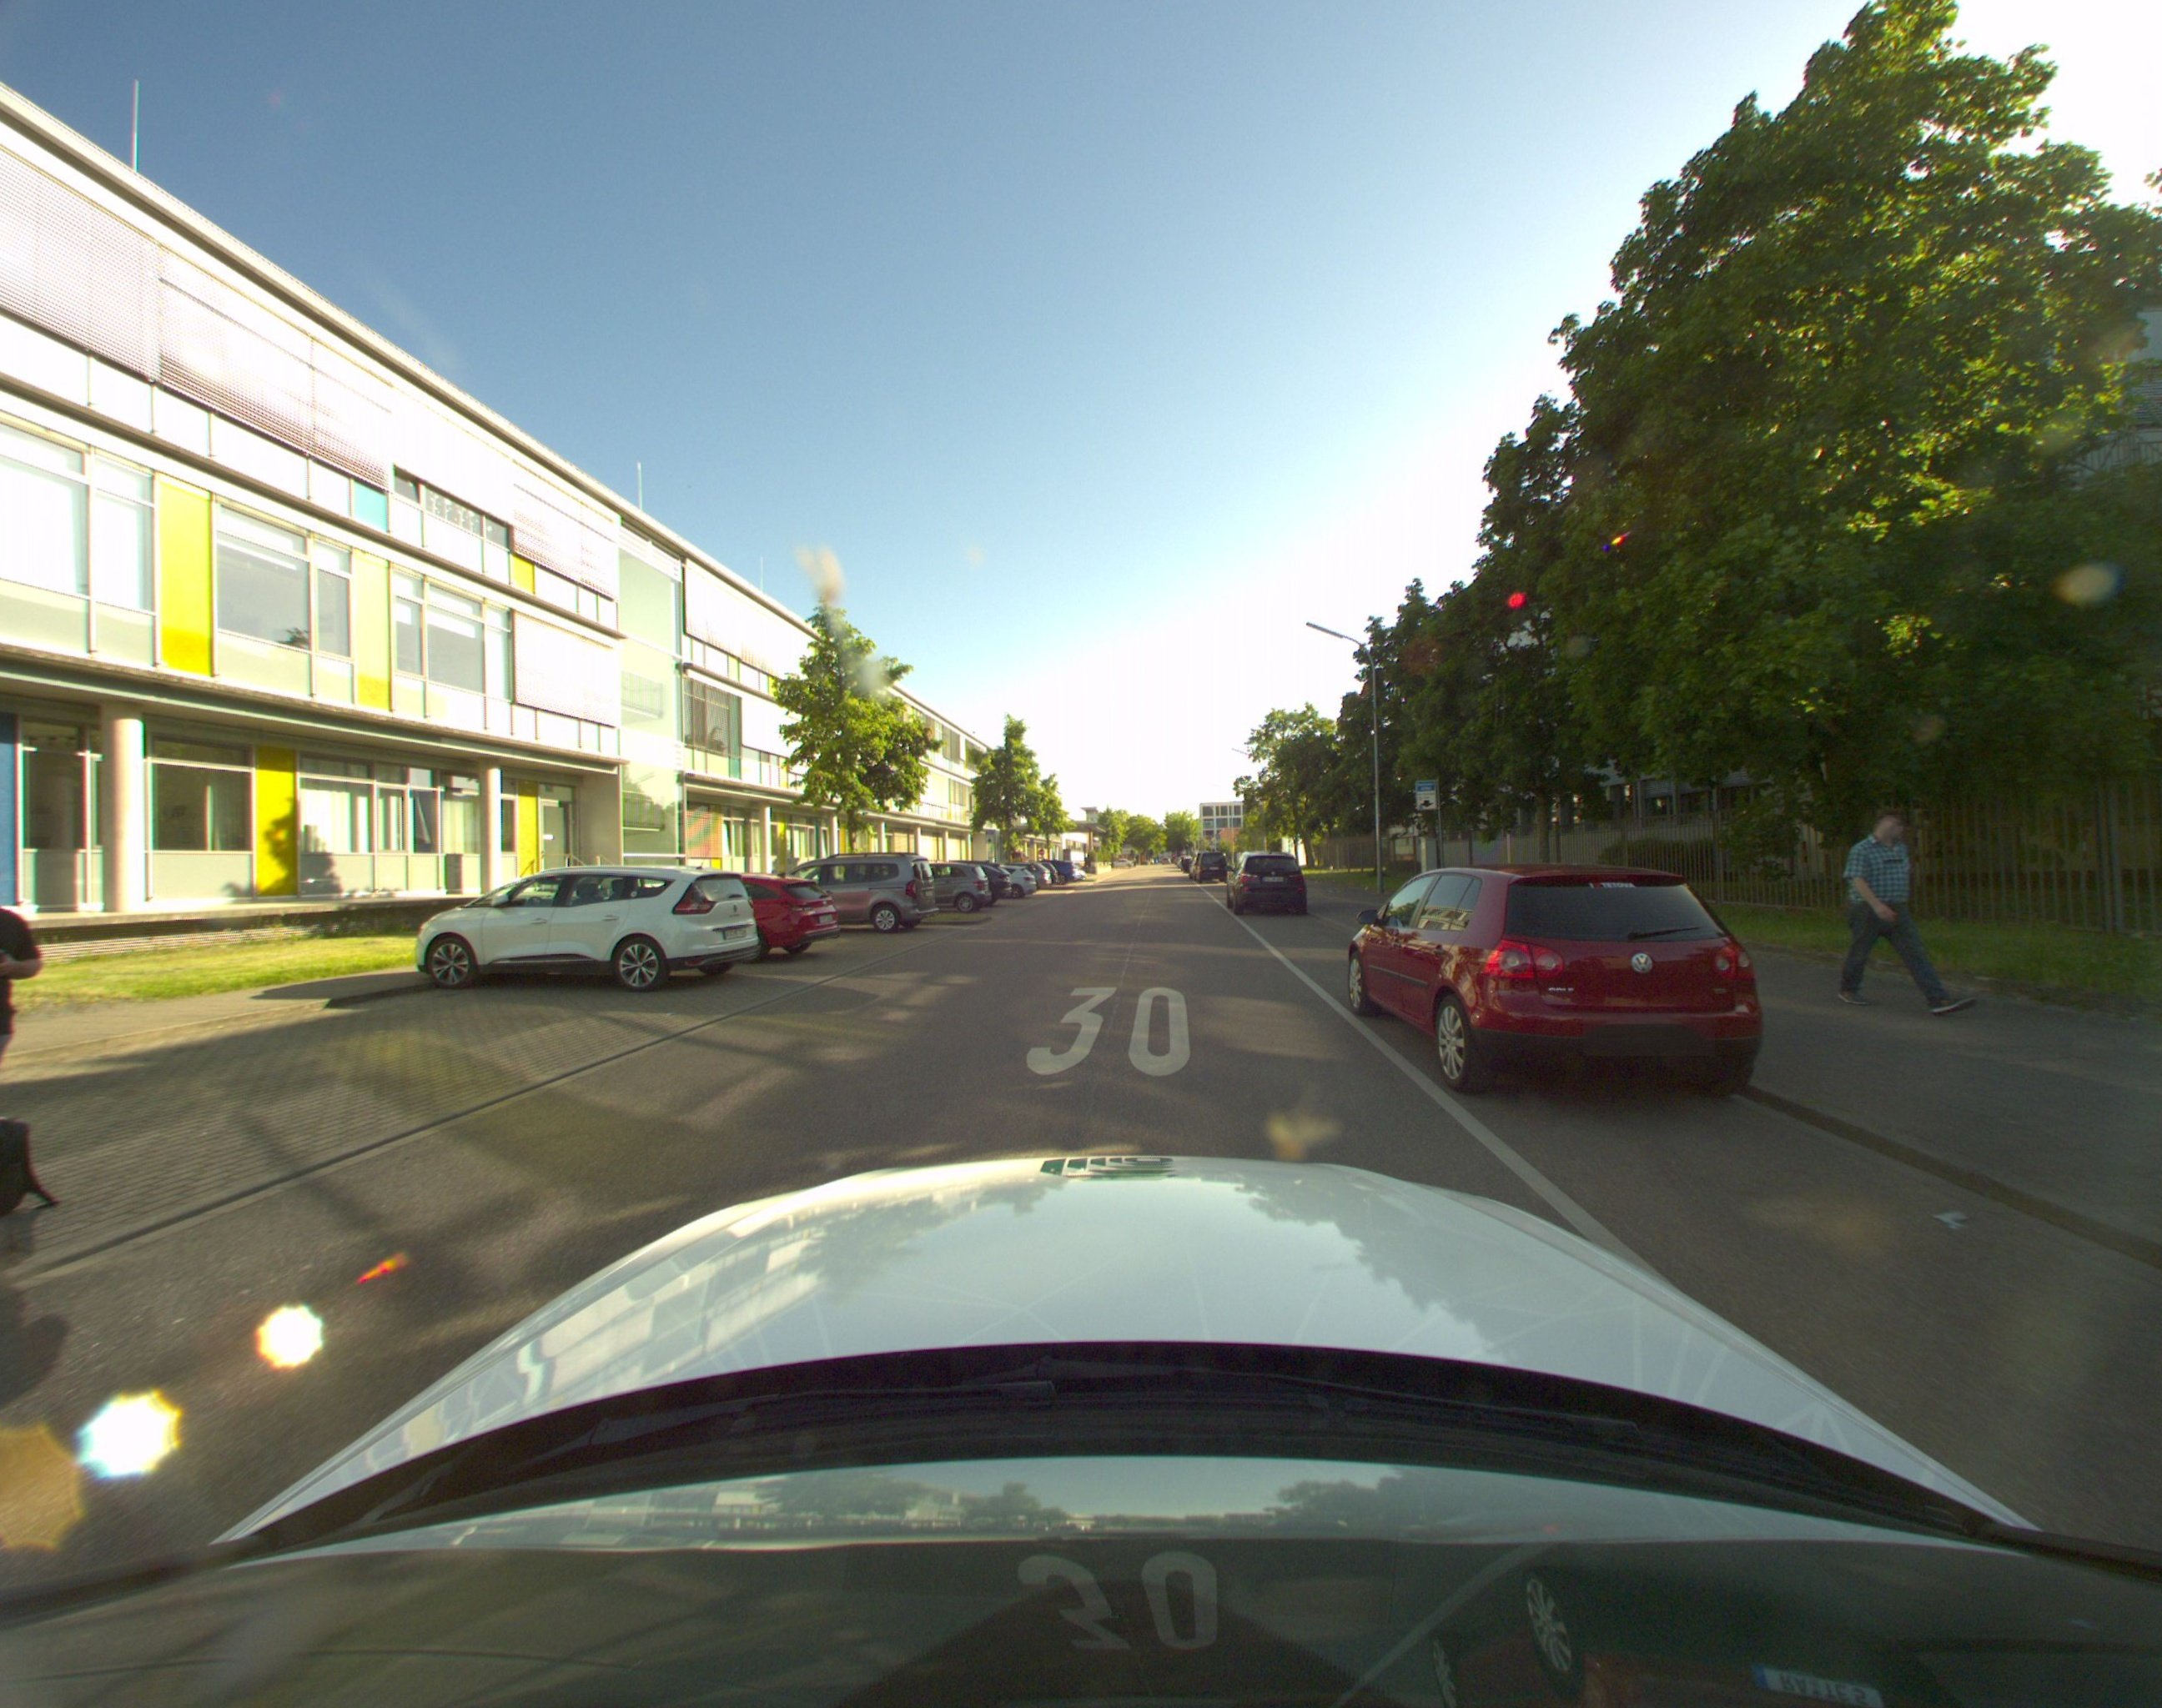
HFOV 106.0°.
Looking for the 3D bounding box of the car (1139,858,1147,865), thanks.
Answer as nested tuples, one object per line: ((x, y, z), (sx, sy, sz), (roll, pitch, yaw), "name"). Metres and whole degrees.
((15.389, 1.901, 201.711), (1.719, 1.536, 4.005), (-2, -1, 4), "car")

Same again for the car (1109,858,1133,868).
((6.695, 1.544, 135.737), (3.967, 1.519, 2.003), (-2, -2, 6), "car")

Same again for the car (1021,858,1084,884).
((-1.902, 1.139, 54.878), (3.970, 1.552, 2.002), (-2, -1, 3), "car")

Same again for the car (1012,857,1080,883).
((-2.210, 1.037, 52.459), (4.197, 1.603, 1.873), (0, -1, 2), "car")

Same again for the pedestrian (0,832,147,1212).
((-5.595, 0.814, 4.176), (0.850, 1.842, 0.830), (0, -1, 25), "pedestrian")

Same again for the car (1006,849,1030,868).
((-7.087, 0.533, 91.924), (1.984, 2.014, 4.006), (-2, -2, 6), "car")

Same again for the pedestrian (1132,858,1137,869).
((8.681, 1.538, 131.930), (0.615, 1.624, 0.717), (-3, -1, 5), "pedestrian")

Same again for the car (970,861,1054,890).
((-3.558, 1.129, 42.518), (4.197, 1.462, 1.873), (0, -1, 2), "car")

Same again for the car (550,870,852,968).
((-6.511, 1.092, 14.221), (4.411, 1.501, 1.830), (-2, -1, 6), "car")

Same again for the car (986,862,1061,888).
((-3.368, 1.241, 47.948), (4.197, 1.486, 1.873), (0, -1, 2), "car")

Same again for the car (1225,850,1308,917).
((5.058, 0.732, 22.722), (1.802, 1.666, 4.601), (0, 0, 7), "car")

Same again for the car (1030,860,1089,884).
((-1.497, 1.266, 57.363), (3.970, 1.552, 2.002), (-2, 0, 3), "car")

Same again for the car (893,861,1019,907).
((-4.492, 1.057, 29.722), (4.230, 1.612, 2.049), (0, -1, 2), "car")

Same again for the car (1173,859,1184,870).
((19.191, 2.032, 159.968), (1.984, 2.014, 4.006), (-2, -2, 6), "car")

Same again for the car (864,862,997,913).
((-4.872, 1.078, 26.785), (3.971, 1.607, 1.873), (0, -1, 2), "car")

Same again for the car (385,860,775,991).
((-7.013, 0.973, 11.621), (4.584, 1.651, 1.872), (-2, -1, 9), "car")

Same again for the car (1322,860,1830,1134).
((3.333, 0.783, 6.713), (1.711, 1.455, 4.659), (-1, 0, 5), "car")

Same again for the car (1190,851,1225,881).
((8.280, 0.778, 53.810), (1.984, 1.823, 4.205), (-3, -1, 6), "car")

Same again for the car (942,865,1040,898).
((-3.854, 1.176, 35.233), (3.971, 1.359, 1.744), (0, -1, 2), "car")

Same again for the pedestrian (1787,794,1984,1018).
((6.826, 0.420, 6.972), (0.714, 1.758, 0.886), (-4, -1, 6), "pedestrian")

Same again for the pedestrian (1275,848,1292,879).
((11.404, 0.540, 45.950), (0.695, 1.661, 0.753), (-4, -1, 5), "pedestrian")

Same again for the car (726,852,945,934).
((-5.892, 0.910, 19.846), (4.718, 1.865, 1.830), (0, 0, 6), "car")

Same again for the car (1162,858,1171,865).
((18.145, 1.563, 173.331), (1.733, 1.543, 4.010), (-1, -1, 9), "car")

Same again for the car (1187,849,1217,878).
((8.880, 0.678, 60.039), (1.865, 1.978, 4.006), (-3, -1, 6), "car")

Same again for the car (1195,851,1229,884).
((7.635, 0.774, 47.591), (1.724, 1.830, 3.912), (-2, -1, 6), "car")
